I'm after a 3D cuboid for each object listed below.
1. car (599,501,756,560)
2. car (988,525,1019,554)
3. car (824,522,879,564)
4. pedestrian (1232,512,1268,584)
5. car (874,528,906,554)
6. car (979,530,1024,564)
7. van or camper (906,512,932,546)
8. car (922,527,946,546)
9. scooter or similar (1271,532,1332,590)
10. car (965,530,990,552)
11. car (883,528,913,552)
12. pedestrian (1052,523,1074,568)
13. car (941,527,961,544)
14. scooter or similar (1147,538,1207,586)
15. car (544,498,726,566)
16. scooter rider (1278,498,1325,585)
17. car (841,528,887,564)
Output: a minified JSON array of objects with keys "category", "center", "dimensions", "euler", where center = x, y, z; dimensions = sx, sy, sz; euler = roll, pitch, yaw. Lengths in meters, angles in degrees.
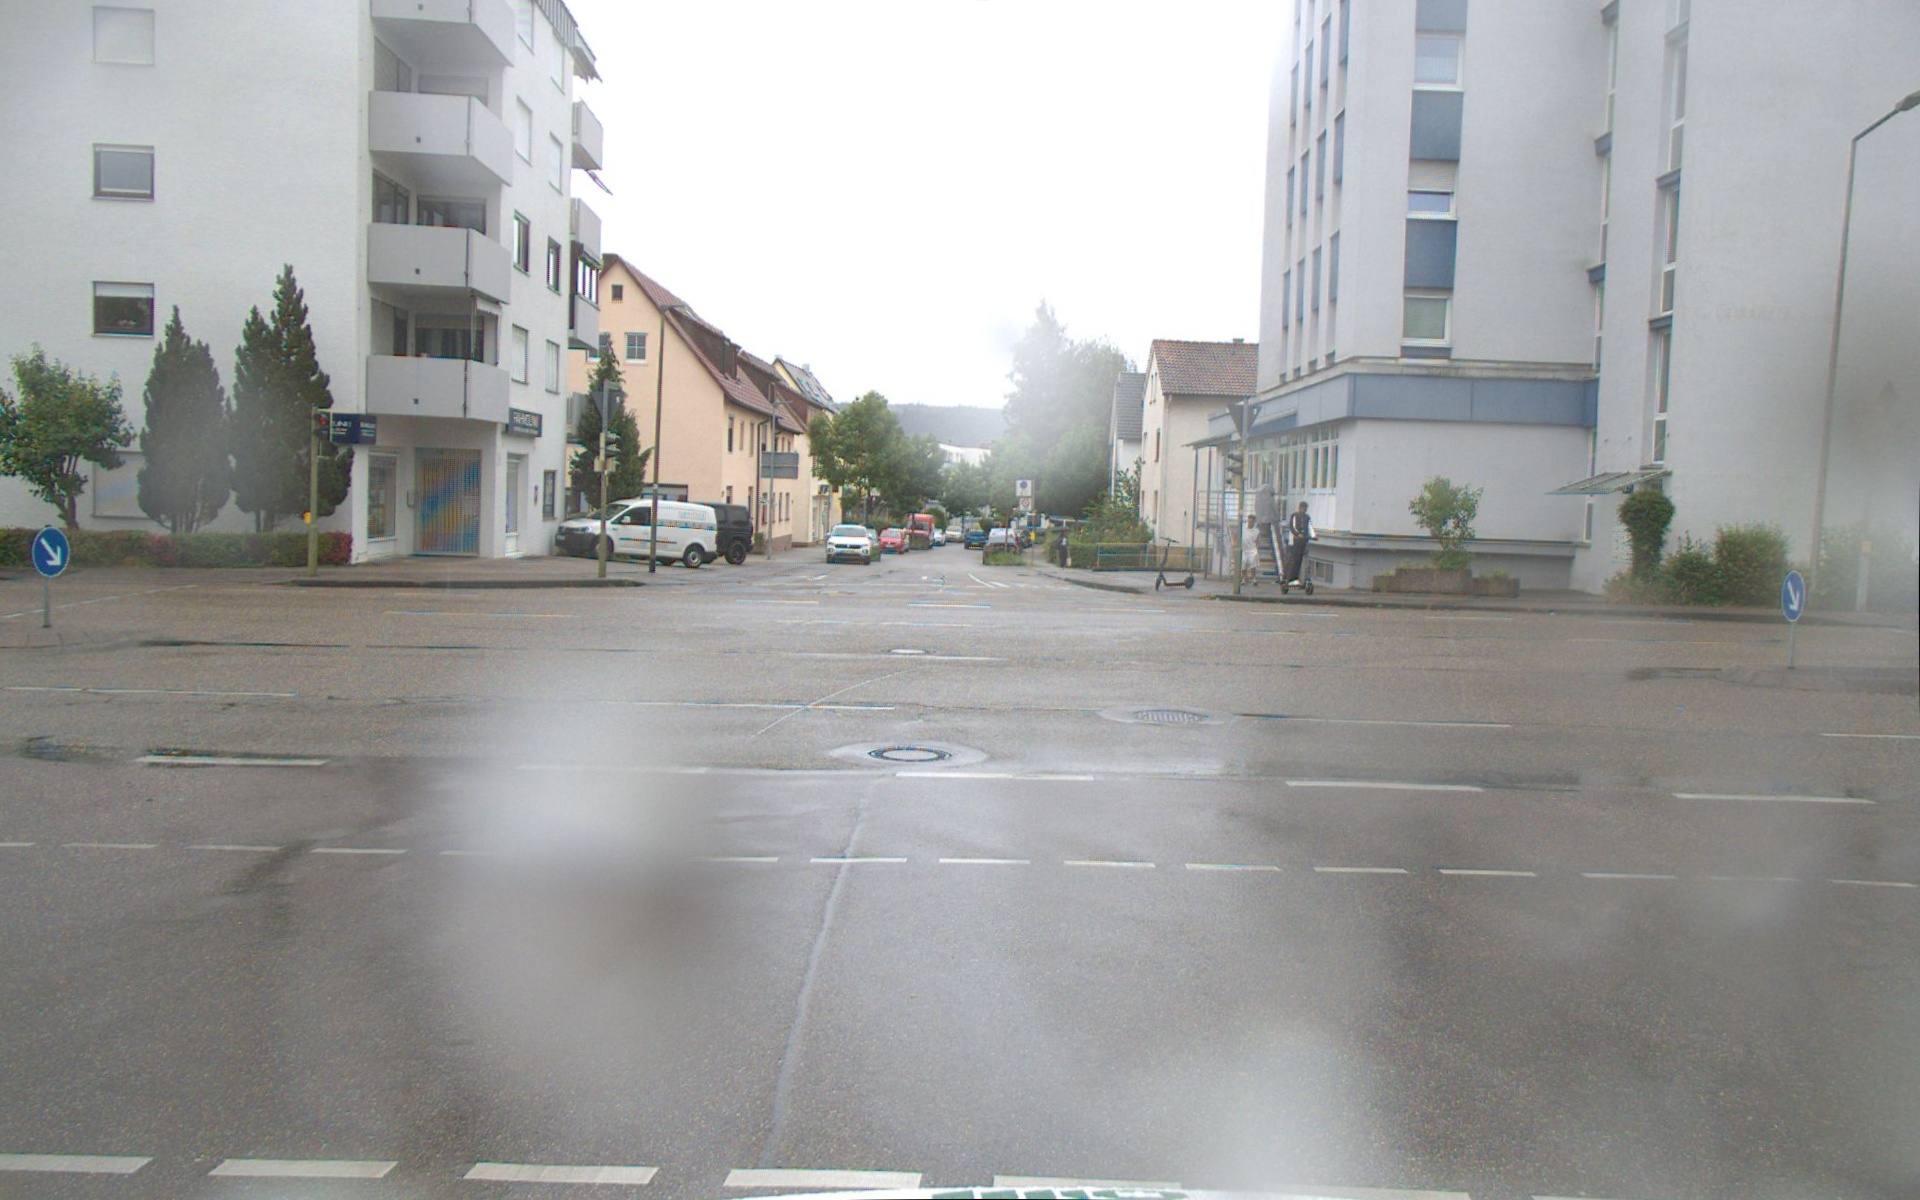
[{"category":"car","center":[-9.260,-2.268,54.444],"dimensions":[4.796,1.867,1.972],"euler":[-1,2,-39]},{"category":"car","center":[2.691,-3.761,103.283],"dimensions":[1.862,1.775,4.192],"euler":[0,2,0]},{"category":"car","center":[-4.436,-2.353,67.887],"dimensions":[1.953,1.654,4.192],"euler":[0,2,0]},{"category":"pedestrian","center":[6.937,-1.240,39.588],"dimensions":[0.635,1.675,0.525],"euler":[4,1,-7]},{"category":"car","center":[-4.393,-3.689,104.337],"dimensions":[1.862,1.586,4.192],"euler":[0,2,0]},{"category":"car","center":[2.006,-2.602,81.567],"dimensions":[2.102,1.616,4.129],"euler":[0,2,0]},{"category":"van or camper","center":[-3.133,-5.430,126.873],"dimensions":[1.862,2.557,4.239],"euler":[0,2,0]},{"category":"car","center":[-2.151,-5.306,138.587],"dimensions":[1.862,1.586,4.192],"euler":[0,2,0]},{"category":"scooter or similar","center":[7.247,-0.831,35.116],"dimensions":[0.744,1.192,1.309],"euler":[0,2,-15]},{"category":"car","center":[1.364,-4.690,130.778],"dimensions":[1.953,1.713,4.001],"euler":[1,2,0]},{"category":"car","center":[-4.238,-4.101,112.743],"dimensions":[1.862,1.586,4.192],"euler":[0,2,0]},{"category":"pedestrian","center":[4.451,-2.346,71.520],"dimensions":[0.731,1.880,0.525],"euler":[4,1,-6]},{"category":"car","center":[-0.814,-6.007,154.596],"dimensions":[1.862,1.586,4.192],"euler":[0,2,0]},{"category":"scooter or similar","center":[5.071,-0.897,38.676],"dimensions":[1.243,1.100,0.876],"euler":[0,2,-5]},{"category":"car","center":[-9.282,-1.915,47.443],"dimensions":[4.796,1.867,1.972],"euler":[-1,2,-39]},{"category":"scooter rider","center":[7.243,-1.245,35.122],"dimensions":[0.740,1.827,0.670],"euler":[0,2,-16]},{"category":"car","center":[-4.588,-2.578,79.289],"dimensions":[1.953,1.654,4.192],"euler":[0,2,0]}]
